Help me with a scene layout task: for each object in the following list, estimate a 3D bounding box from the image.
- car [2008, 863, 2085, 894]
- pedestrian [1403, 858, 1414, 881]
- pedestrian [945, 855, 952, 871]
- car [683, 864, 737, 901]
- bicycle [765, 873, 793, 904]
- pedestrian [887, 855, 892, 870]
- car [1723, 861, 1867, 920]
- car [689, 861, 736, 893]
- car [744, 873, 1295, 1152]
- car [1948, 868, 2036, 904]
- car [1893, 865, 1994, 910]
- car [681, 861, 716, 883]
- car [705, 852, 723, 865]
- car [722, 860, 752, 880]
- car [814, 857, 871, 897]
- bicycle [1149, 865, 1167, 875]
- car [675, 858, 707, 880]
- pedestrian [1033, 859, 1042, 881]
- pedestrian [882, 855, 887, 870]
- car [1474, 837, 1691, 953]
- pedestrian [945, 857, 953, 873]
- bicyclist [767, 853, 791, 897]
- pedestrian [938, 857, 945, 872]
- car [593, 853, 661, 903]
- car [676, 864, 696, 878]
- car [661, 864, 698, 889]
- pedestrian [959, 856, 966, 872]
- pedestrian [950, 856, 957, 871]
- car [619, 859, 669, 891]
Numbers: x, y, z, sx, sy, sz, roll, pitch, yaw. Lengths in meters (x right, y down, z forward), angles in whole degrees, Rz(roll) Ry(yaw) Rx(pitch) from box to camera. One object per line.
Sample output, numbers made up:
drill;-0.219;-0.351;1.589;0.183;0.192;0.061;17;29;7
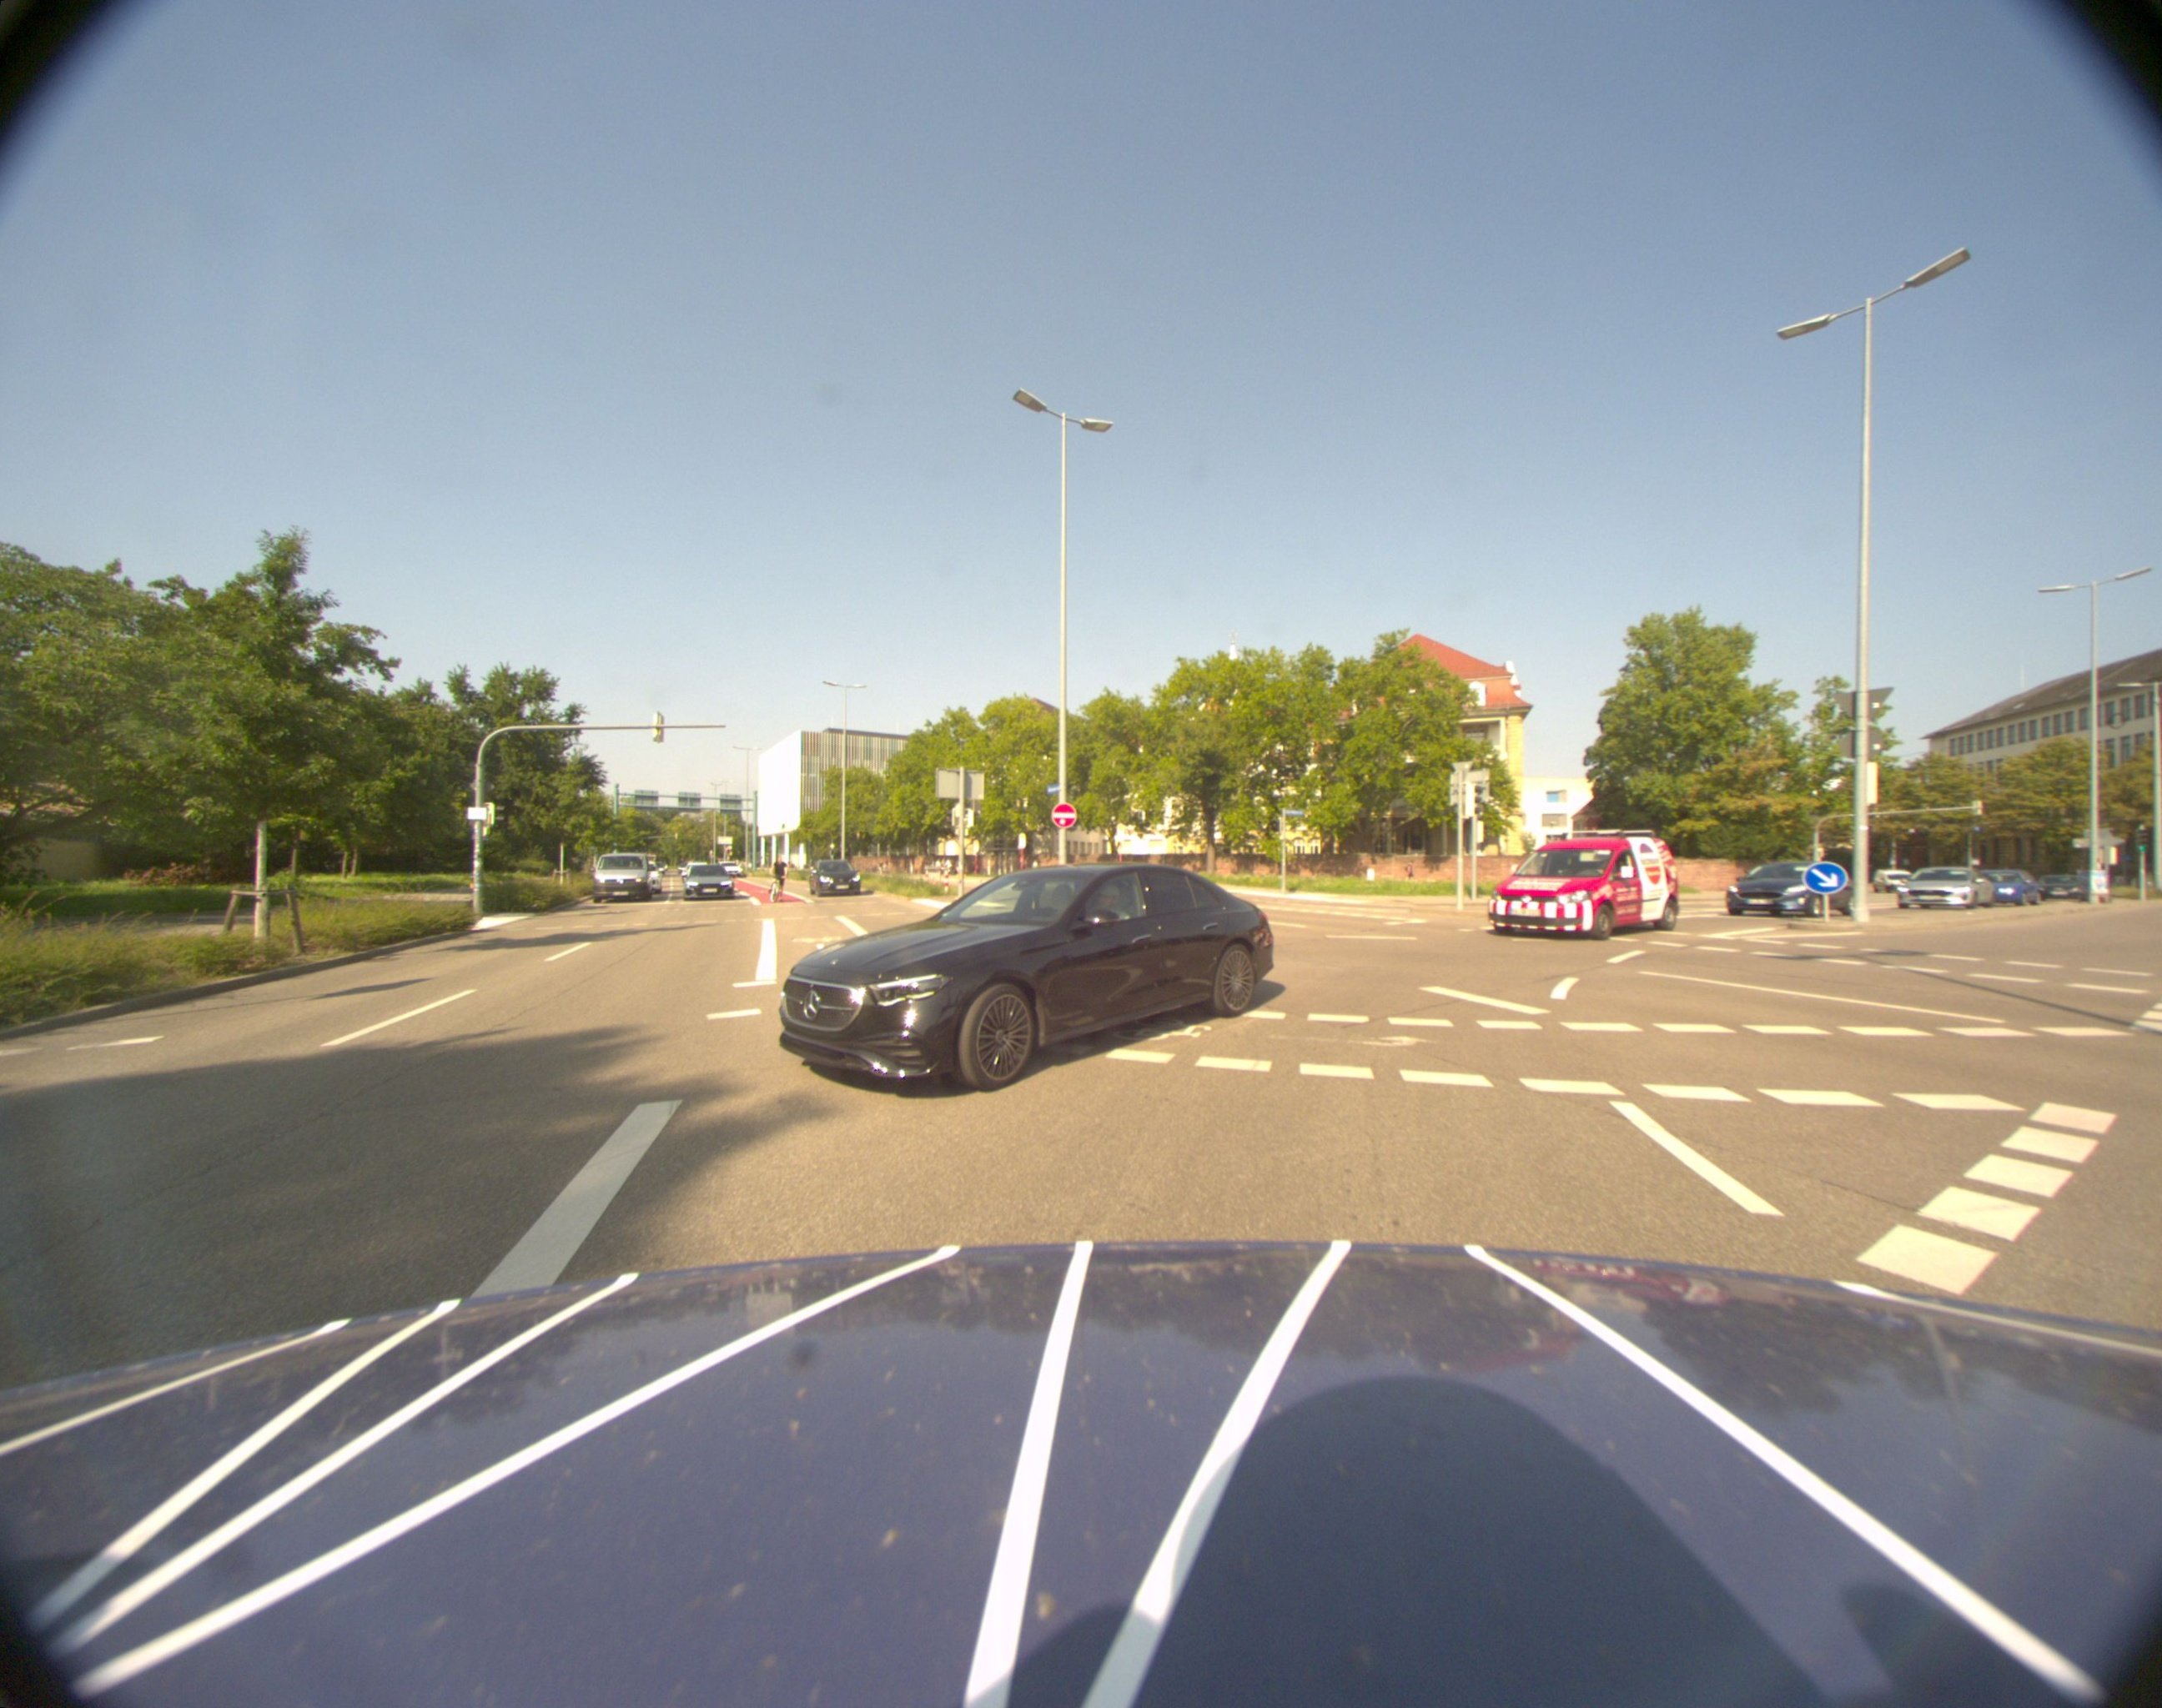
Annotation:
car;50.649;1.251;39.854;4.007;1.543;1.995;0;0;-31
pedestrian;24.215;1.157;56.174;0.716;1.673;0.596;0;0;27
pedestrian;-14.508;0.998;83.267;0.593;1.641;0.484;-3;-3;42
car;-15.469;1.128;31.830;1.914;1.392;4.910;0;0;-25
bicycle;-11.309;1.271;28.439;0.771;1.046;1.771;1;0;-27
pedestrian;-22.504;0.964;89.195;0.487;1.729;0.504;0;-2;-33
car;18.737;0.900;19.891;4.329;1.418;1.637;0;-2;-31
car;-18.504;1.100;38.277;2.003;1.497;4.426;0;0;-25
car;-0.086;0.935;6.610;1.820;1.431;4.884;0;0;41
car;36.288;1.244;30.252;4.340;1.321;1.604;0;0;-31
car;29.817;1.112;26.252;3.867;1.425;1.717;0;0;-32
car;-27.265;1.224;54.089;1.936;1.497;4.284;0;0;-31
car;-60.348;0.742;124.923;1.924;2.001;3.990;1;-3;-38
car;-30.461;1.403;67.215;1.936;1.650;4.284;0;0;-31
car;-10.464;0.931;33.178;1.856;1.569;4.705;-1;0;-24
bicycle;6.774;1.419;66.918;1.545;0.830;0.435;0;0;34
car;-30.421;1.131;59.255;1.936;1.650;4.284;0;0;-31
pedestrian;-4.243;1.581;74.064;0.593;2.092;0.521;-3;-3;42
pedestrian;-23.053;0.965;89.029;0.487;1.729;0.504;0;-2;-33
car;9.190;0.643;13.825;4.285;1.808;1.733;0;0;-33
pedestrian;-14.018;1.190;80.772;0.593;1.641;0.521;-3;-3;42
bicyclist;-11.317;0.776;28.463;0.750;1.626;0.873;0;0;-28
pedestrian;-15.094;1.126;82.371;0.501;1.561;0.536;-2;-3;39
car;-18.217;0.901;30.673;1.849;1.864;4.963;0;0;-25
car;-48.634;2.014;93.508;1.936;1.650;4.284;0;0;-31
car;-25.662;1.418;48.579;2.003;1.497;4.425;0;0;-28
pedestrian;-12.633;1.041;81.184;0.593;1.641;0.484;-3;-3;42
pedestrian;-13.497;1.019;80.385;0.593;1.641;0.521;-3;-3;42
car;-21.845;1.020;38.106;1.813;1.497;3.960;0;0;-25
